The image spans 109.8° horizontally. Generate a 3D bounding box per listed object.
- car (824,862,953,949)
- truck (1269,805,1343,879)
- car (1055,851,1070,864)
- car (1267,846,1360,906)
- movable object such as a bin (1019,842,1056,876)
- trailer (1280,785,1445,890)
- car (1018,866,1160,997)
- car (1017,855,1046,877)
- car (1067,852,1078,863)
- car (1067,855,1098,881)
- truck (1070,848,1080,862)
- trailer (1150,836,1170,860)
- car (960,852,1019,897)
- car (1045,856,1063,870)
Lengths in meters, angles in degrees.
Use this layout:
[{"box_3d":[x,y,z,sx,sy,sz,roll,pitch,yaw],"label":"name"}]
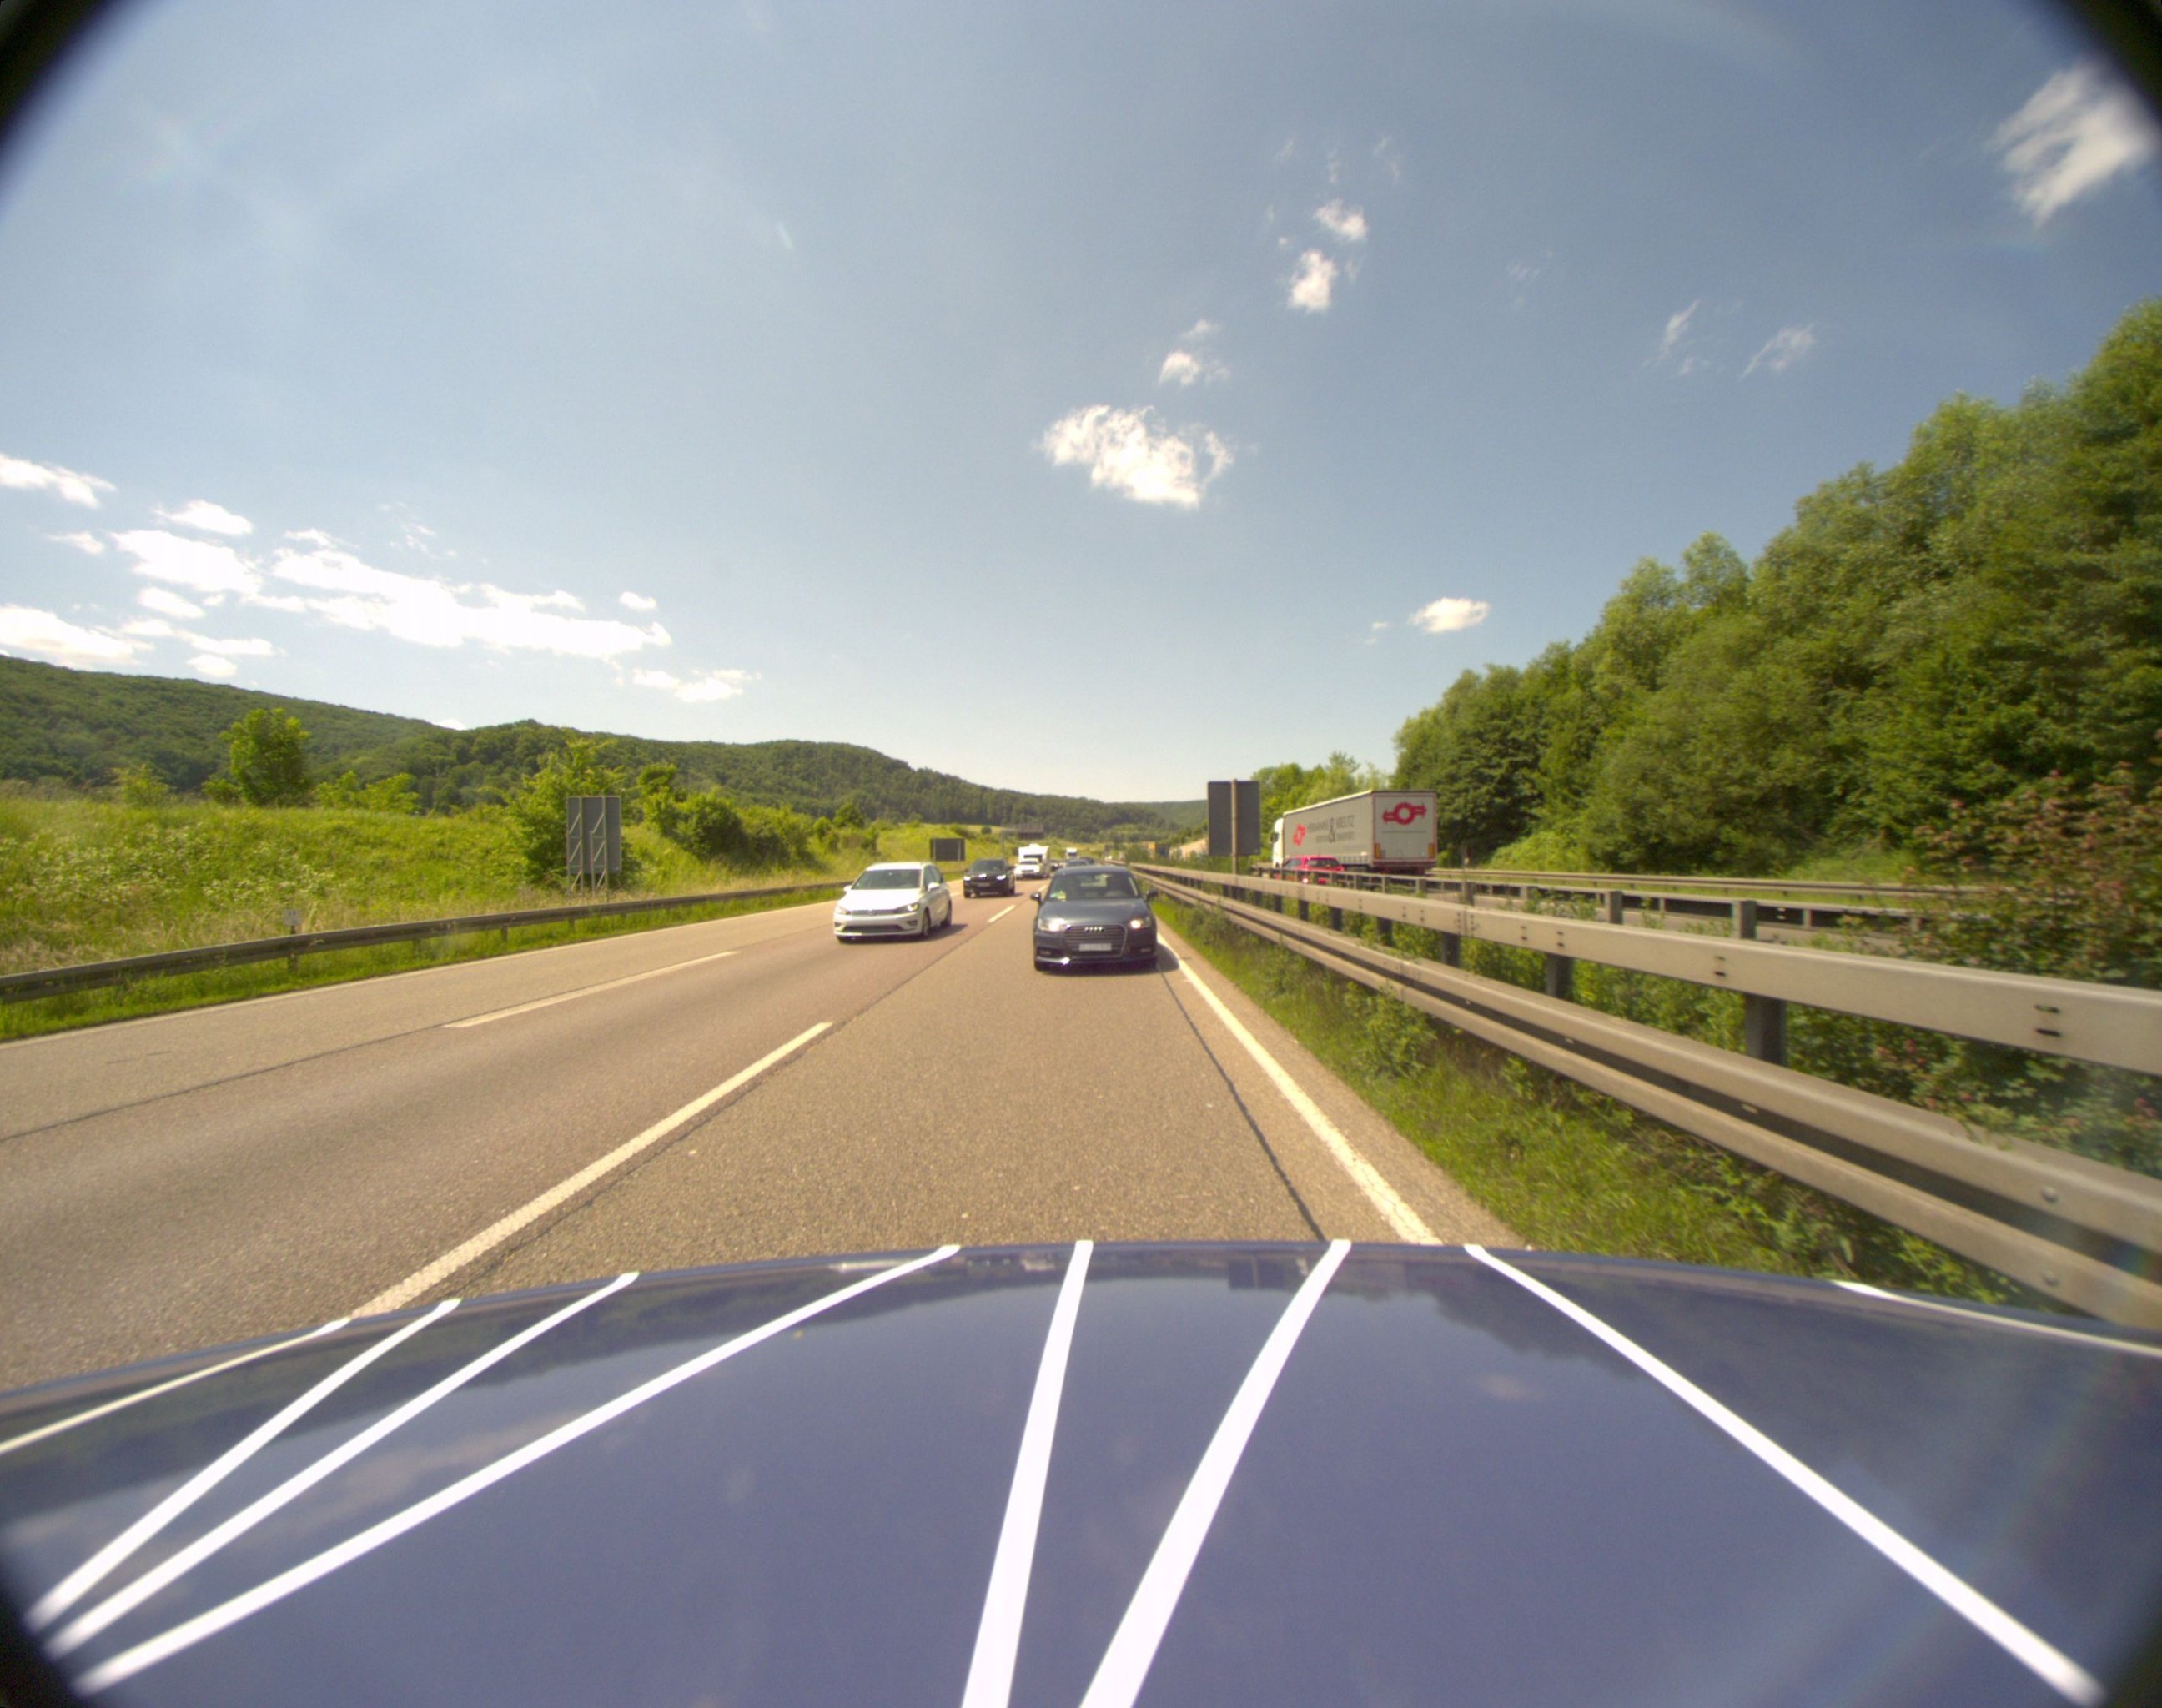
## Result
[{"box_3d":[-3.951,0.987,16.283,1.777,1.532,4.053,-2,0,-1],"label":"car"},{"box_3d":[12.835,-0.674,43.751,2.735,3.978,5.369,0,0,1],"label":"truck"},{"box_3d":[-2.827,0.531,115.684,1.999,2.002,3.998,-1,0,-4],"label":"car"},{"box_3d":[8.516,0.746,28.211,1.999,2.002,4.333,-2,0,-1],"label":"car"},{"box_3d":[-3.589,0.416,64.374,2.481,2.616,6.709,-2,0,1],"label":"movable object such as a bin"},{"box_3d":[12.715,-0.646,36.406,2.789,3.976,14.159,-2,0,1],"label":"trailer"},{"box_3d":[0.228,0.929,10.762,1.591,1.401,4.001,-2,0,4],"label":"car"},{"box_3d":[-3.674,0.859,57.412,1.821,1.574,4.000,-1,0,1],"label":"car"},{"box_3d":[-1.611,0.644,144.664,1.998,2.002,4.000,-2,0,0],"label":"car"},{"box_3d":[0.139,0.901,49.505,1.835,1.586,4.000,-1,0,2],"label":"car"},{"box_3d":[-1.675,0.160,201.250,2.336,3.623,7.006,-2,0,1],"label":"truck"},{"box_3d":[14.164,-1.004,136.862,2.587,3.982,12.601,-2,0,1],"label":"trailer"},{"box_3d":[-3.889,0.837,32.894,1.893,1.761,4.172,-1,0,2],"label":"car"},{"box_3d":[-3.050,0.991,86.617,1.711,1.542,4.000,-1,0,1],"label":"car"}]
